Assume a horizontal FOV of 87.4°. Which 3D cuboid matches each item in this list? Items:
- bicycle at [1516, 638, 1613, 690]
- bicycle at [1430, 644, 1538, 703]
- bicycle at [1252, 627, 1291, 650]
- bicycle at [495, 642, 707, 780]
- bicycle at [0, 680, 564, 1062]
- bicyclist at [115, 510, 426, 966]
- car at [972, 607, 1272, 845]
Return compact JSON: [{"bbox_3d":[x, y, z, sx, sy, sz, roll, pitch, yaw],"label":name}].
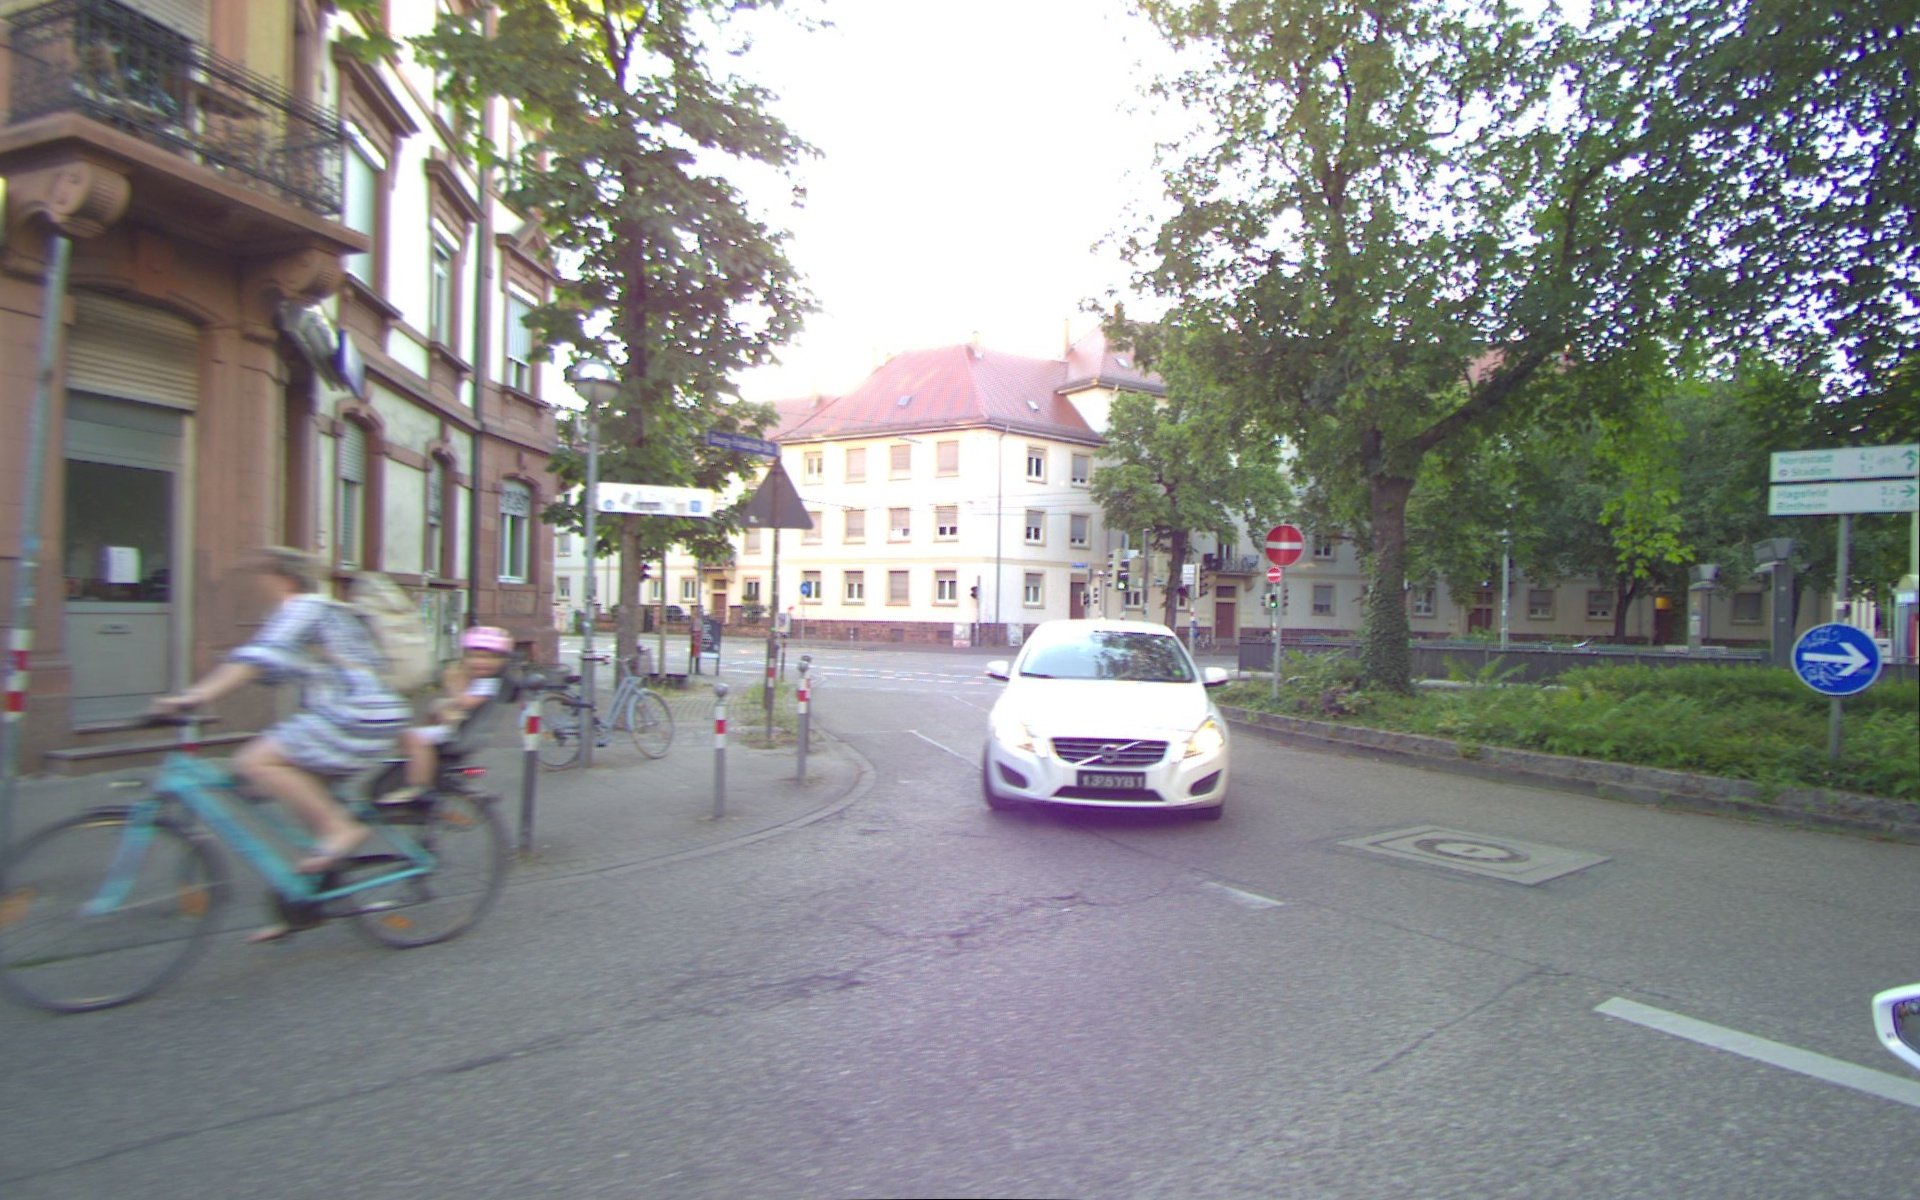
[{"bbox_3d":[13.460,1.417,22.403,1.822,1.065,0.545,1,-1,30],"label":"bicycle"},{"bbox_3d":[11.495,1.597,22.086,2.076,1.167,0.685,1,-1,28],"label":"bicycle"},{"bbox_3d":[16.527,2.020,53.318,1.883,1.167,0.686,1,-1,-5],"label":"bicycle"},{"bbox_3d":[-3.235,0.957,9.202,0.552,1.097,1.791,2,0,38],"label":"bicycle"},{"bbox_3d":[-2.645,0.930,4.089,0.676,1.109,1.799,0,-1,42],"label":"bicycle"},{"bbox_3d":[-2.728,0.482,3.998,0.669,1.565,0.870,0,-1,42],"label":"bicyclist"},{"bbox_3d":[1.276,0.872,9.125,1.960,1.537,4.843,1,-1,5],"label":"car"}]
